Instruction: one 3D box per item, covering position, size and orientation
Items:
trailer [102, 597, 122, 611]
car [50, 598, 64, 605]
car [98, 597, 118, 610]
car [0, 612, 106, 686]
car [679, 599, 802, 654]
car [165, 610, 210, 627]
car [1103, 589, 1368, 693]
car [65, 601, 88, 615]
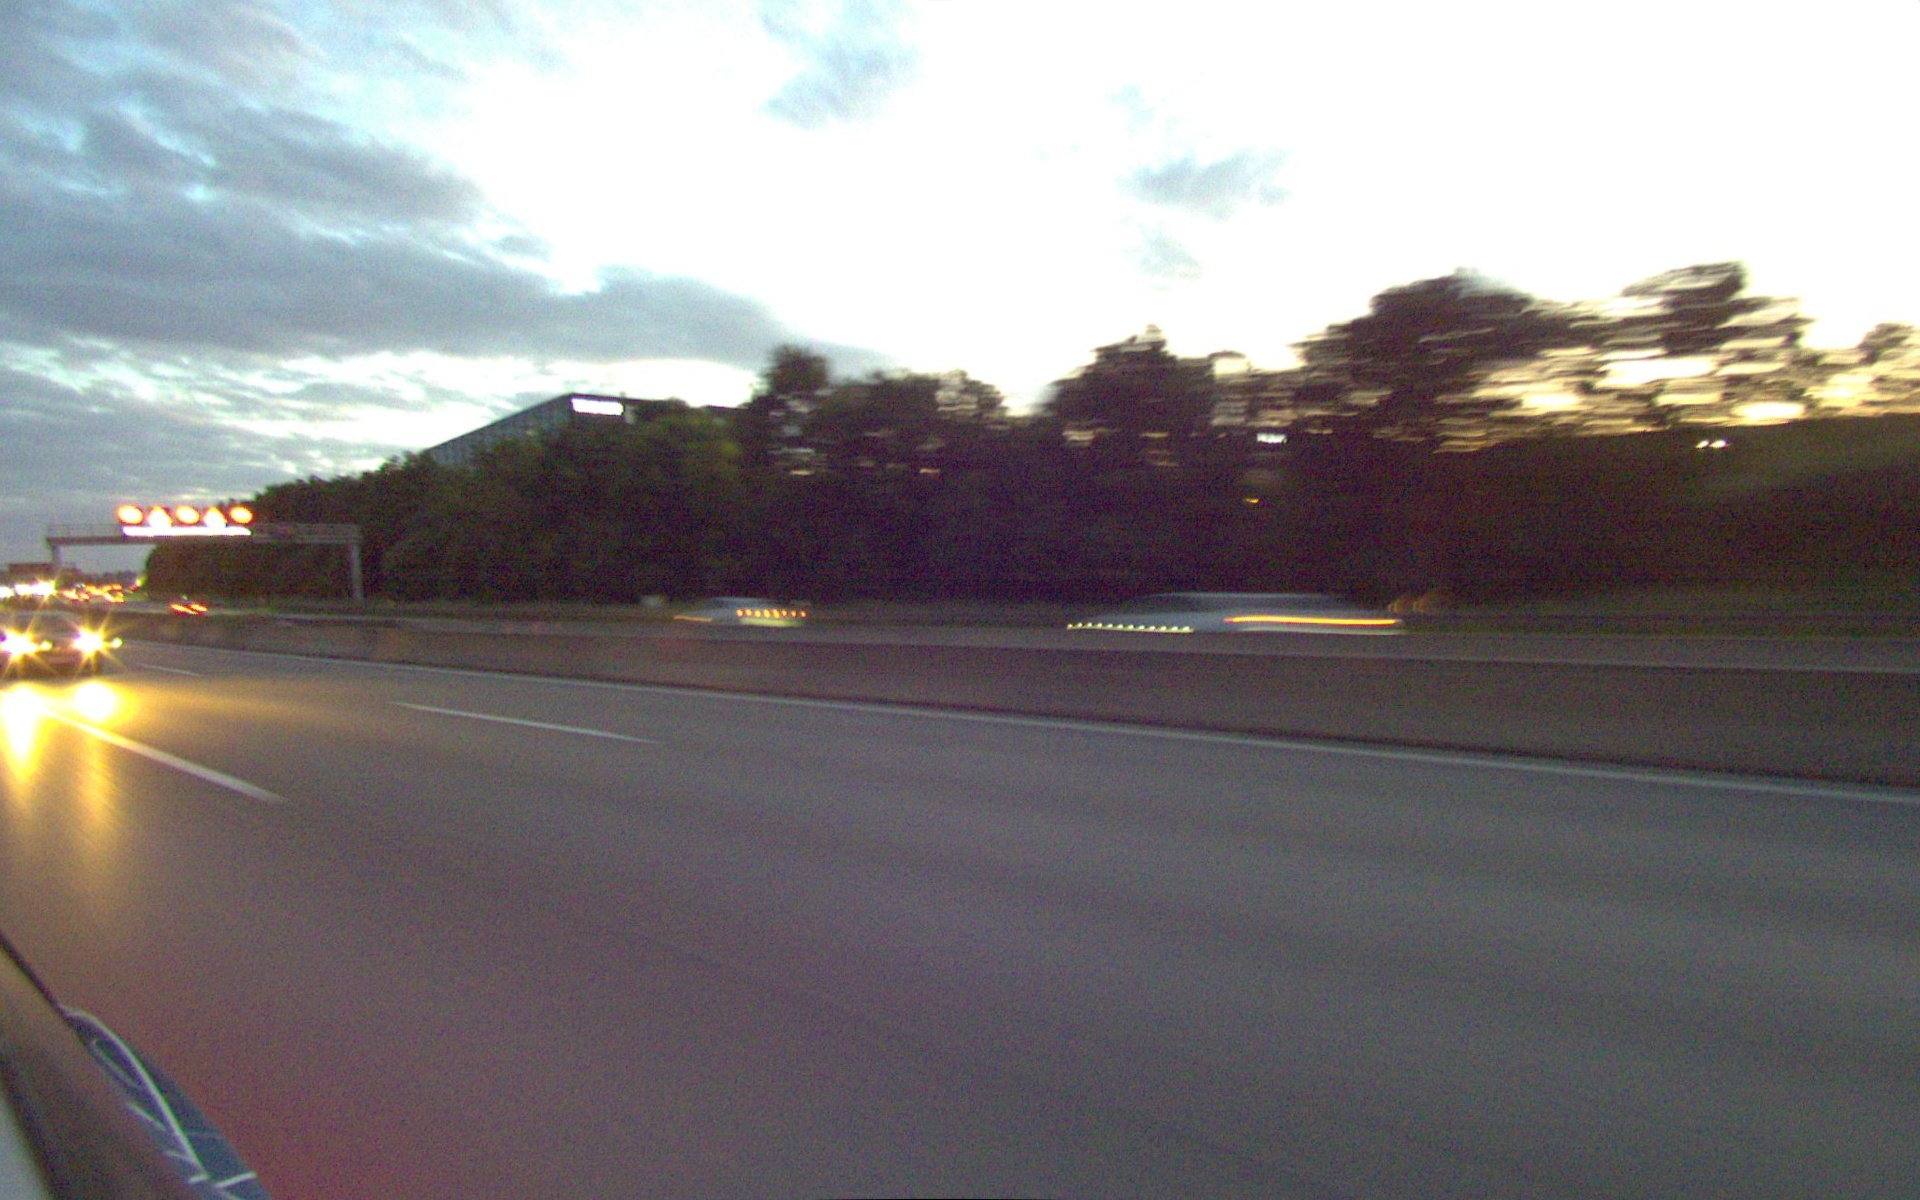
[{"bbox_3d":[-135.724,0.664,161.995,4.242,2.017,1.892,-1,2,44],"label":"trailer"},{"bbox_3d":[-172.145,0.275,192.982,4.899,1.364,1.671,1,2,44],"label":"car"},{"bbox_3d":[-139.909,0.559,166.156,5.526,1.881,1.891,1,2,44],"label":"car"},{"bbox_3d":[-21.562,1.076,23.689,3.996,1.491,1.696,0,2,40],"label":"car"},{"bbox_3d":[-8.516,0.973,39.006,5.054,1.907,1.973,1,2,40],"label":"car"},{"bbox_3d":[-64.431,1.524,84.379,5.232,1.235,2.038,1,2,42],"label":"car"},{"bbox_3d":[5.657,0.732,21.207,5.054,1.907,1.856,1,2,40],"label":"car"},{"bbox_3d":[-131.354,1.145,150.480,6.014,1.881,1.892,1,2,42],"label":"car"}]
